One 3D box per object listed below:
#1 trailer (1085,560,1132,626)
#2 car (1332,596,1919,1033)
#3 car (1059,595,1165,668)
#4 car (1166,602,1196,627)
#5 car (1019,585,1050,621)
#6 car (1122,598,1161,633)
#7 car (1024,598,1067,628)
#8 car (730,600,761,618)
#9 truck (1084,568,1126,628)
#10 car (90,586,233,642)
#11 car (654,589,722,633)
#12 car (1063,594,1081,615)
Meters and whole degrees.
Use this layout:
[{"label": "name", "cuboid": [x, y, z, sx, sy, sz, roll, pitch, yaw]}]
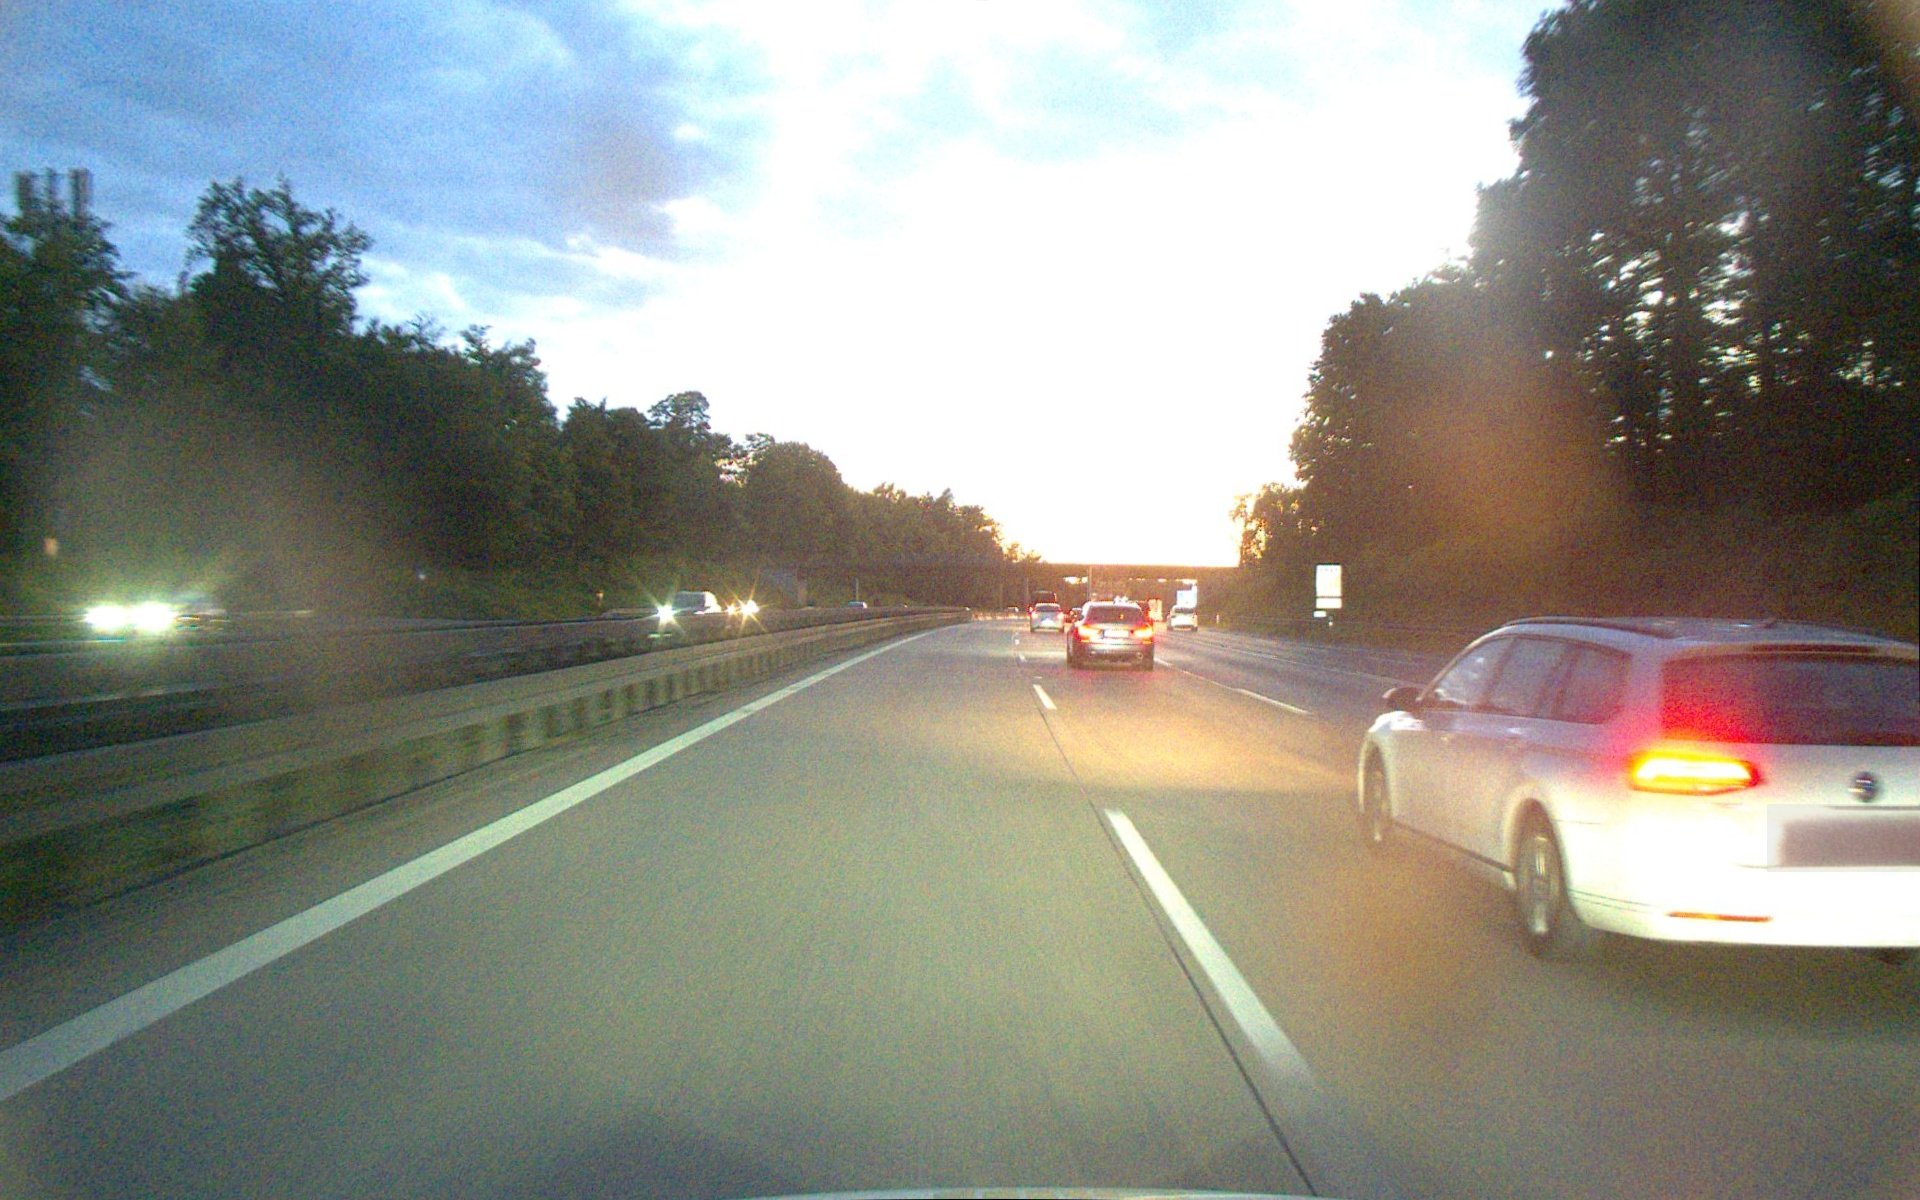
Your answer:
[{"label": "trailer", "cuboid": [10.096, -0.382, 113.252, 2.846, 4.173, 10.360, 1, -2, 4]}, {"label": "car", "cuboid": [3.370, 0.758, 8.414, 1.772, 1.491, 5.132, 0, 1, 0]}, {"label": "car", "cuboid": [3.467, 0.686, 38.649, 1.870, 1.564, 5.230, 0, 0, -1]}, {"label": "car", "cuboid": [13.819, 0.944, 103.408, 1.819, 1.467, 4.114, 0, -1, 7]}, {"label": "car", "cuboid": [5.474, 0.276, 121.001, 2.120, 2.461, 5.566, 1, -2, 4]}, {"label": "car", "cuboid": [8.954, 0.789, 81.885, 1.863, 1.672, 5.055, 1, -1, 5]}, {"label": "car", "cuboid": [4.318, 0.640, 84.329, 1.822, 1.467, 3.718, 0, 0, -3]}, {"label": "car", "cuboid": [-18.116, 0.767, 139.740, 1.777, 1.405, 4.909, 1, 0, 2]}, {"label": "truck", "cuboid": [10.756, -0.050, 123.785, 2.824, 4.173, 10.835, 1, -2, 4]}, {"label": "car", "cuboid": [-22.873, 0.384, 47.570, 1.812, 1.523, 4.595, 0, 0, 1]}, {"label": "car", "cuboid": [-11.137, 0.439, 67.995, 1.952, 1.735, 4.551, 1, 0, 0]}, {"label": "car", "cuboid": [14.568, 0.602, 214.845, 2.120, 2.461, 5.566, 1, -2, 5]}]
